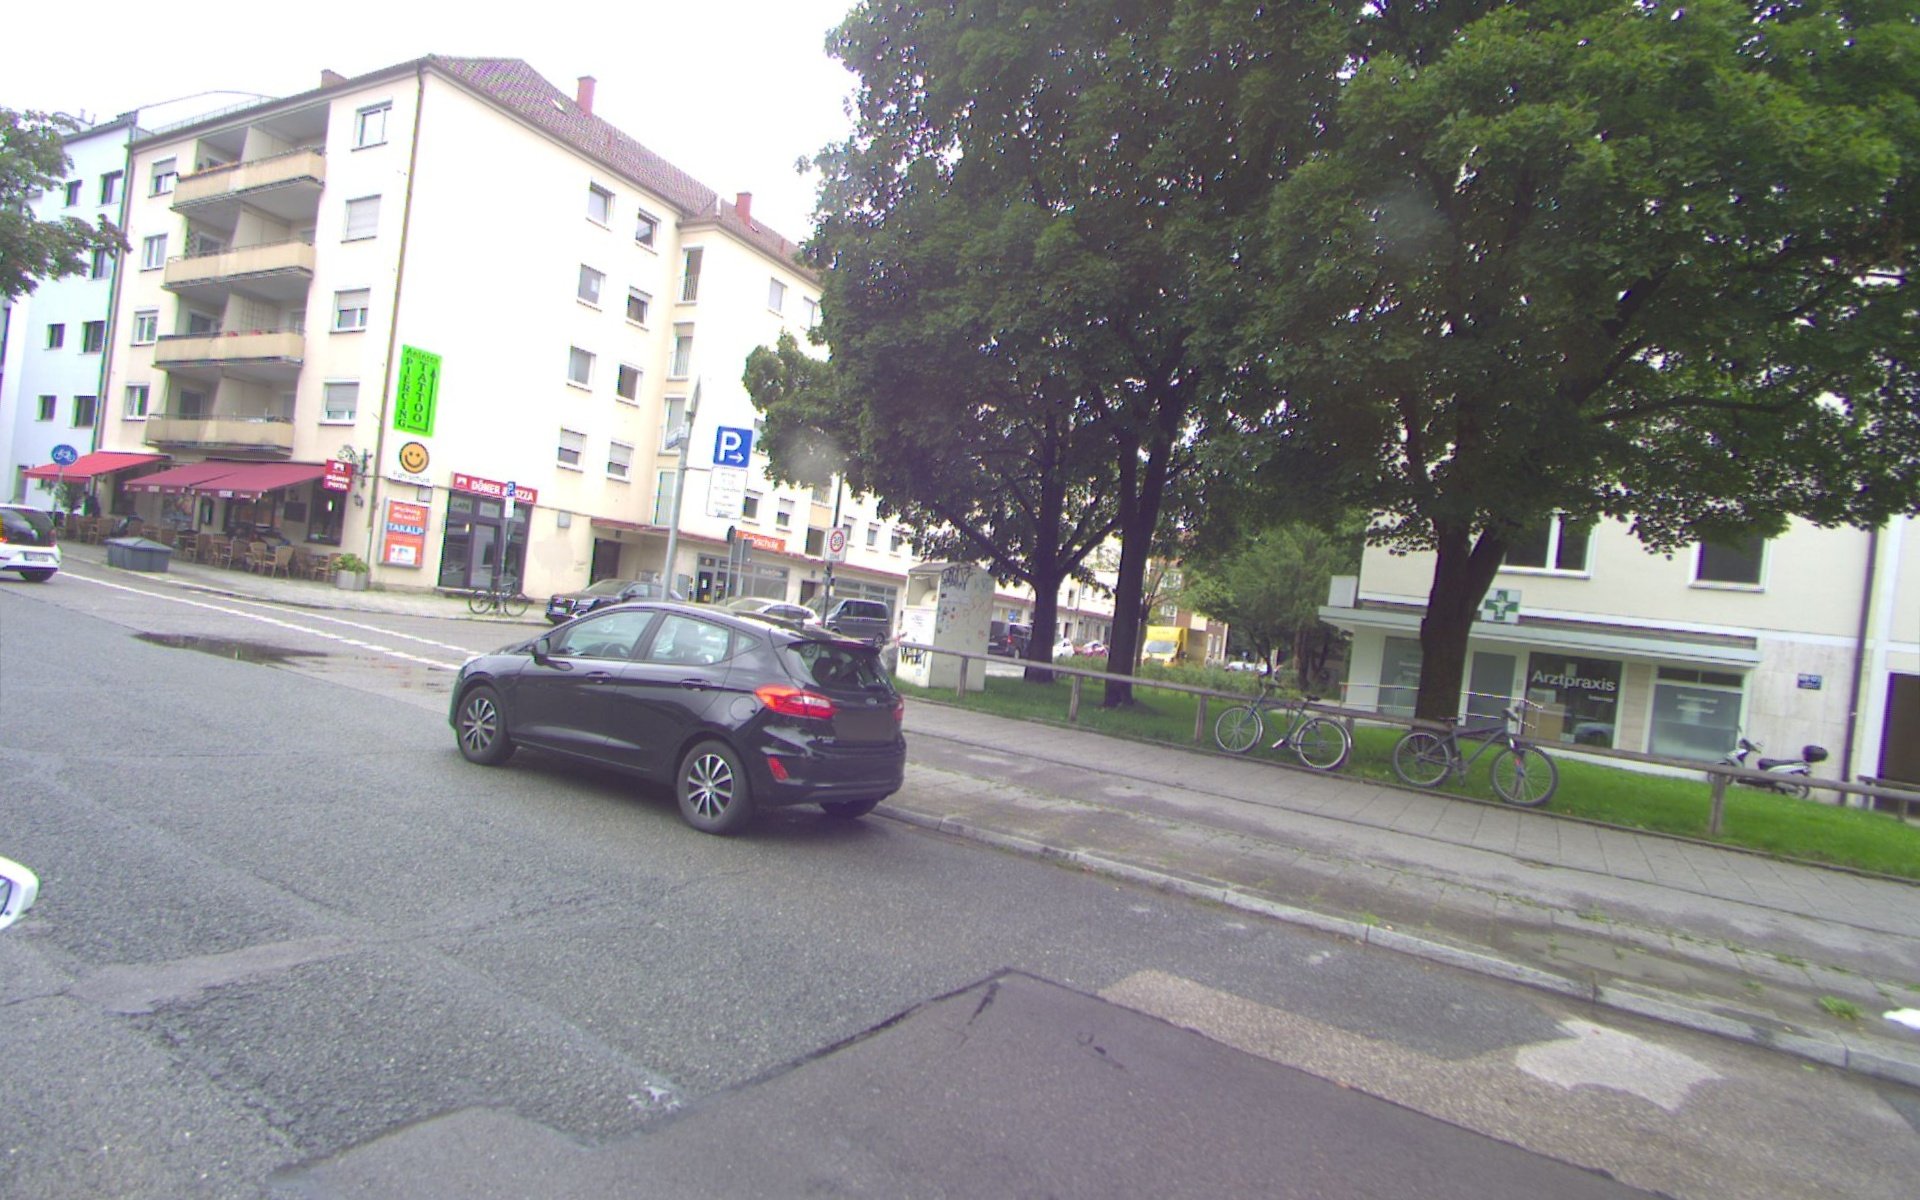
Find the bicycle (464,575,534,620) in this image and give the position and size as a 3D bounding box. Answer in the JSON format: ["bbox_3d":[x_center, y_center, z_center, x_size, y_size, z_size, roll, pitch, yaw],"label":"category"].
[{"bbox_3d":[-12.203,-0.054,26.683,0.545,1.023,1.541,7,-1,34],"label":"bicycle"}]

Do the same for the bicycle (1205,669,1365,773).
[{"bbox_3d":[4.176,1.535,12.997,1.822,1.027,0.448,7,0,32],"label":"bicycle"}]

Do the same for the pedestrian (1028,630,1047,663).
[{"bbox_3d":[3.901,2.317,50.400,0.486,1.551,0.733,7,0,31],"label":"pedestrian"}]

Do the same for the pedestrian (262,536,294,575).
[{"bbox_3d":[-20.226,-1.318,29.839,0.479,1.066,0.539,7,0,31],"label":"pedestrian"}]

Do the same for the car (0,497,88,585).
[{"bbox_3d":[-18.819,-1.278,18.761,3.375,1.507,1.691,8,-1,-6],"label":"car"}]

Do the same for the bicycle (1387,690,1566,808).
[{"bbox_3d":[6.058,1.724,11.853,1.738,1.067,0.470,6,-1,31],"label":"bicycle"}]

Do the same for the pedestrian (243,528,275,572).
[{"bbox_3d":[-21.437,-1.525,30.780,0.479,1.229,0.539,7,0,31],"label":"pedestrian"}]

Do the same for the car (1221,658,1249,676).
[{"bbox_3d":[26.415,6.435,96.483,1.573,1.459,3.764,7,-1,29],"label":"car"}]

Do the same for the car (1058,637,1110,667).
[{"bbox_3d":[7.343,3.089,59.305,1.573,1.459,3.764,7,-1,29],"label":"car"}]

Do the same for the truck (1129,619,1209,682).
[{"bbox_3d":[11.069,2.709,52.848,2.236,2.803,6.765,7,-1,26],"label":"truck"}]

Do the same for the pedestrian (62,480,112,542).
[{"bbox_3d":[-29.905,-3.037,34.470,0.747,1.952,0.871,7,0,15],"label":"pedestrian"}]

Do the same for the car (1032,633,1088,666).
[{"bbox_3d":[5.561,2.771,55.746,1.573,1.459,3.764,7,-1,29],"label":"car"}]

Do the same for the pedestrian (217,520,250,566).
[{"bbox_3d":[-22.976,-1.796,31.814,0.543,1.355,0.539,7,0,30],"label":"pedestrian"}]

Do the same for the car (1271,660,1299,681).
[{"bbox_3d":[29.672,6.441,91.820,1.573,1.638,3.764,7,-1,30],"label":"car"}]

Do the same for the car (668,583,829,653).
[{"bbox_3d":[-5.810,0.546,28.144,1.966,1.459,4.217,7,-1,30],"label":"car"}]

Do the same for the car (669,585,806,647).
[{"bbox_3d":[-7.003,0.543,32.025,1.966,1.459,3.996,7,-1,29],"label":"car"}]

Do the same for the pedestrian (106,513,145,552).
[{"bbox_3d":[-28.446,-2.294,34.291,0.636,1.177,0.745,7,0,31],"label":"pedestrian"}]

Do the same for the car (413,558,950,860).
[{"bbox_3d":[-2.237,0.694,7.791,3.890,1.494,1.647,7,-1,31],"label":"car"}]

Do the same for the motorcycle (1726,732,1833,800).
[{"bbox_3d":[17.449,3.516,21.457,1.595,1.133,0.605,7,0,32],"label":"motorcycle"}]

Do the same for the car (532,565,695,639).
[{"bbox_3d":[-9.383,0.108,27.539,1.701,1.537,3.934,7,-1,29],"label":"car"}]

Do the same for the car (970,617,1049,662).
[{"bbox_3d":[2.574,2.048,50.692,2.117,1.806,4.999,7,-1,24],"label":"car"}]

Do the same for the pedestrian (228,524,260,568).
[{"bbox_3d":[-22.256,-1.685,31.280,0.478,1.283,0.539,7,0,30],"label":"pedestrian"}]

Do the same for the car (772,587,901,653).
[{"bbox_3d":[-4.457,0.795,37.144,1.966,1.907,4.994,7,-1,29],"label":"car"}]
